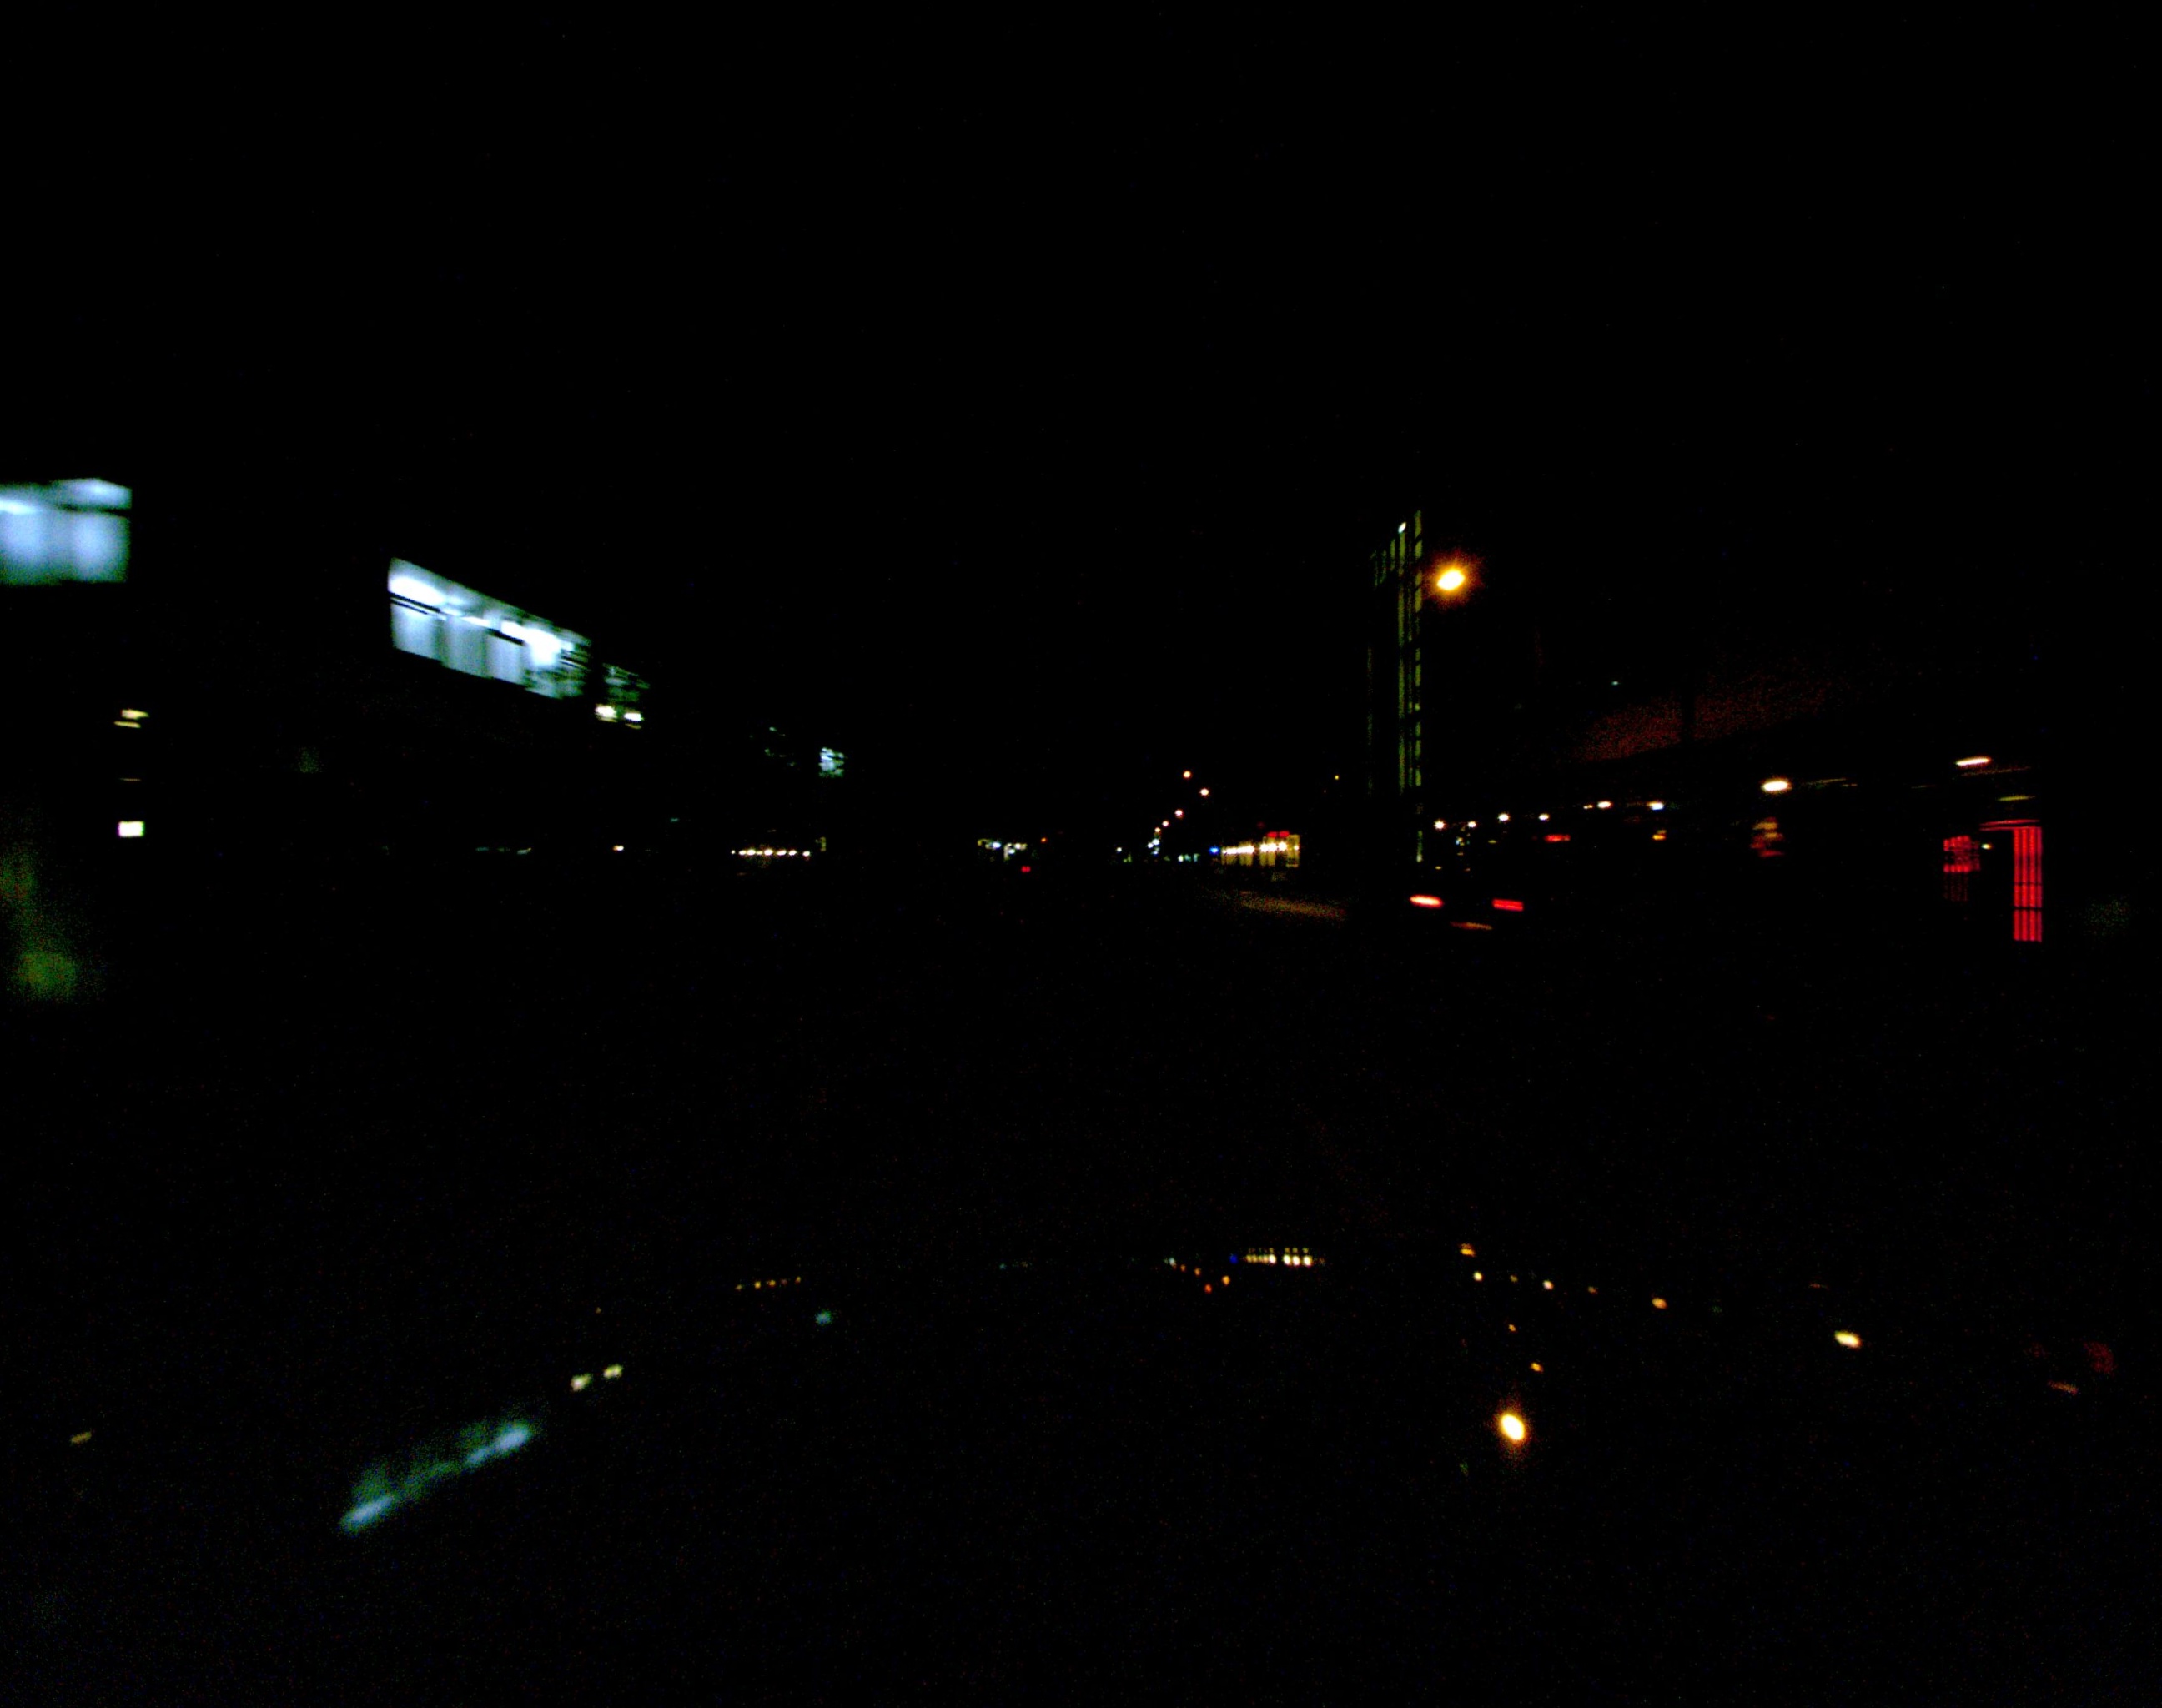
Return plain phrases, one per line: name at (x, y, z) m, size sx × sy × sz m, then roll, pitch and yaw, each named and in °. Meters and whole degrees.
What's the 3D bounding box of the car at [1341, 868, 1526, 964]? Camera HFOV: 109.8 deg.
car at (6.282, 1.020, 14.078) m, size 1.671 × 1.420 × 4.001 m, roll 2°, pitch 0°, yaw 2°
